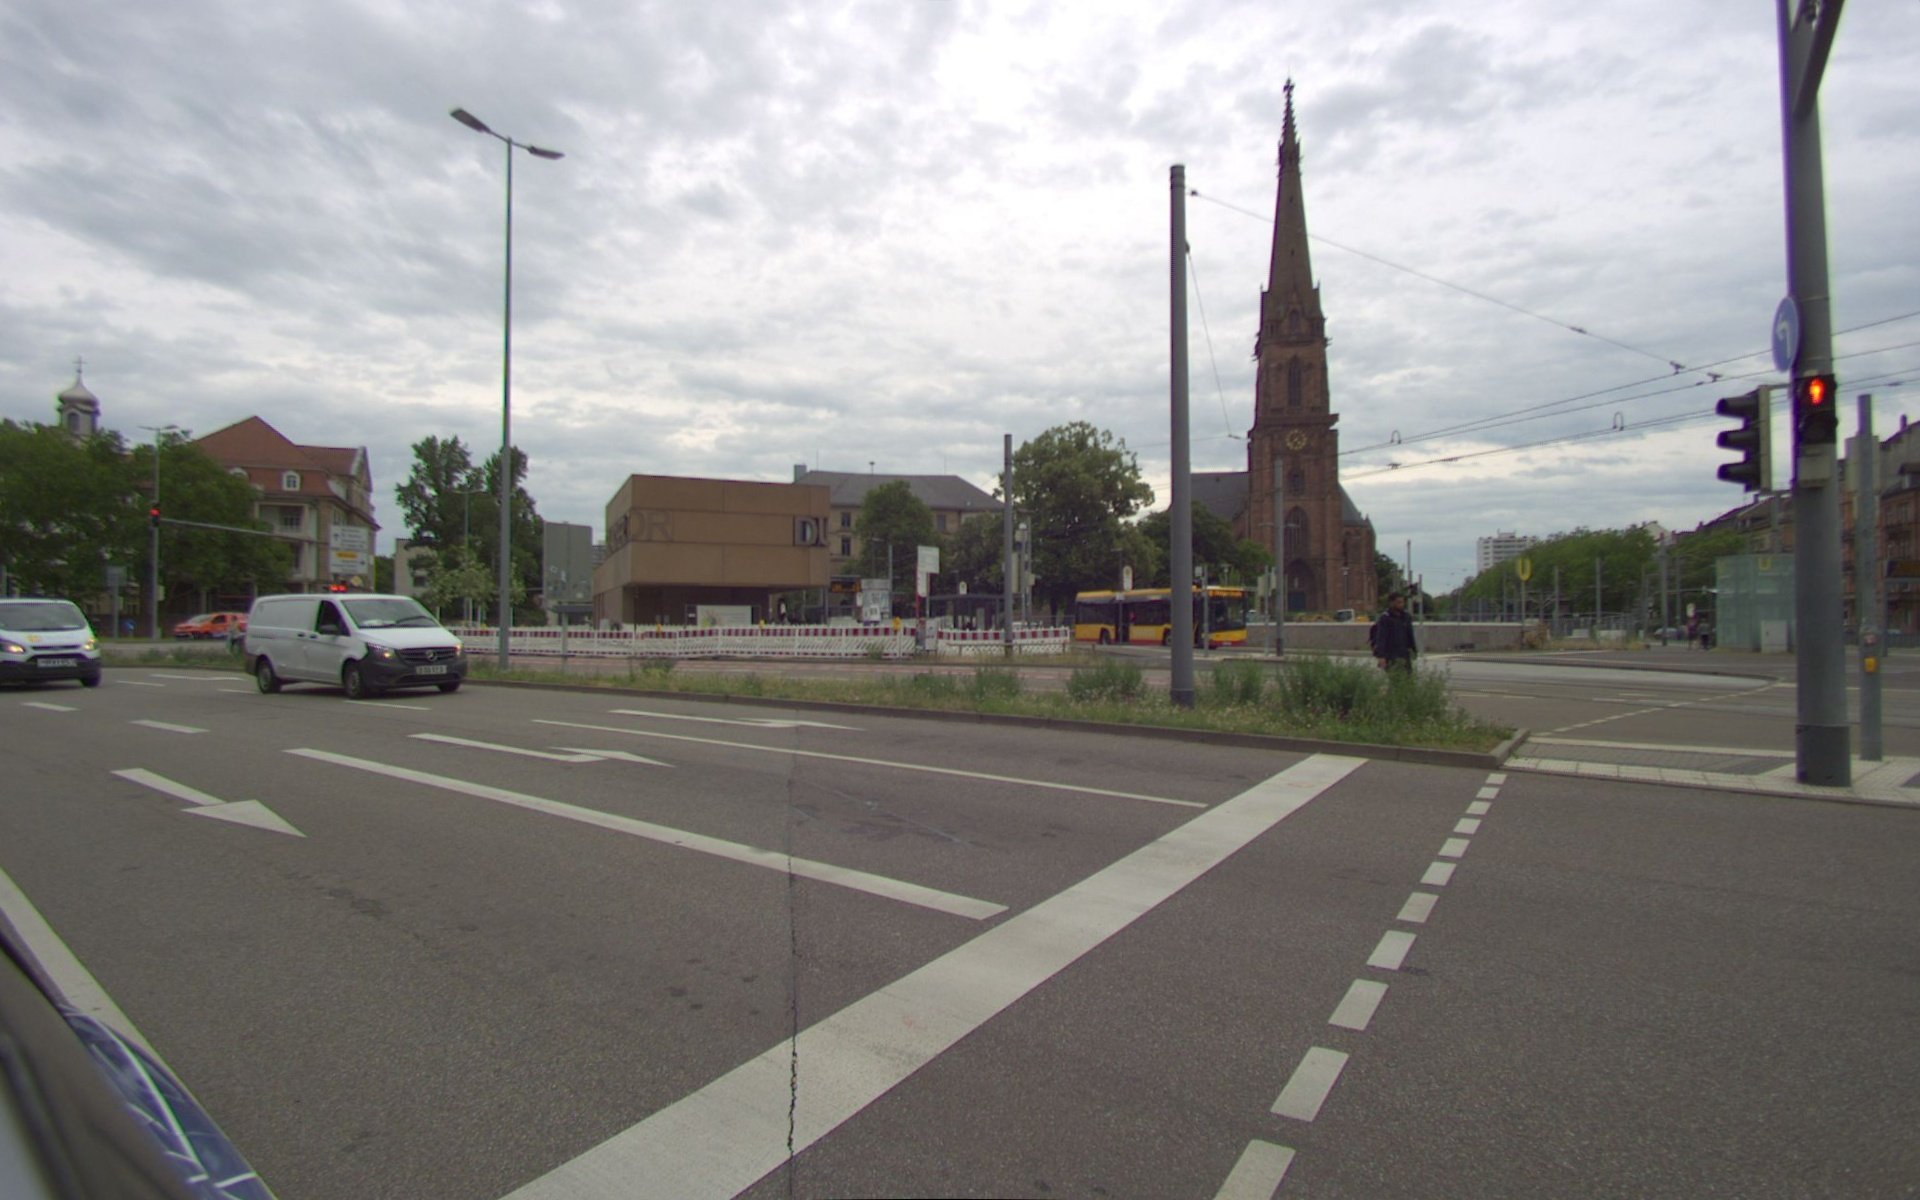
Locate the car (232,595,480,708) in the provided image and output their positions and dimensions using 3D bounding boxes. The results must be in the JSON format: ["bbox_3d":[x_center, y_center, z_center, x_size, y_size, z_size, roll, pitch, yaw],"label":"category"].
[{"bbox_3d":[-11.501,0.892,19.169,5.071,1.896,1.903,-1,0,31],"label":"car"}]

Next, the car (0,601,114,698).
[{"bbox_3d":[-20.929,1.065,22.402,4.506,1.957,1.979,-1,-2,30],"label":"car"}]

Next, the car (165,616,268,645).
[{"bbox_3d":[-47.360,1.948,64.624,1.896,1.730,5.215,-1,-2,16],"label":"car"}]

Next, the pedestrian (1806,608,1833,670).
[{"bbox_3d":[22.811,1.029,26.852,0.479,1.623,0.420,-2,-2,37],"label":"pedestrian"}]

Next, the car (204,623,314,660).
[{"bbox_3d":[-27.676,1.613,39.947,3.982,1.409,1.981,-1,-2,28],"label":"car"}]

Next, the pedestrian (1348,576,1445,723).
[{"bbox_3d":[6.024,0.670,14.021,0.768,1.958,0.984,0,-2,-13],"label":"pedestrian"}]

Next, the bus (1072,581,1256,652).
[{"bbox_3d":[9.679,0.788,50.418,2.815,3.100,12.059,-1,-1,-22],"label":"bus"}]
